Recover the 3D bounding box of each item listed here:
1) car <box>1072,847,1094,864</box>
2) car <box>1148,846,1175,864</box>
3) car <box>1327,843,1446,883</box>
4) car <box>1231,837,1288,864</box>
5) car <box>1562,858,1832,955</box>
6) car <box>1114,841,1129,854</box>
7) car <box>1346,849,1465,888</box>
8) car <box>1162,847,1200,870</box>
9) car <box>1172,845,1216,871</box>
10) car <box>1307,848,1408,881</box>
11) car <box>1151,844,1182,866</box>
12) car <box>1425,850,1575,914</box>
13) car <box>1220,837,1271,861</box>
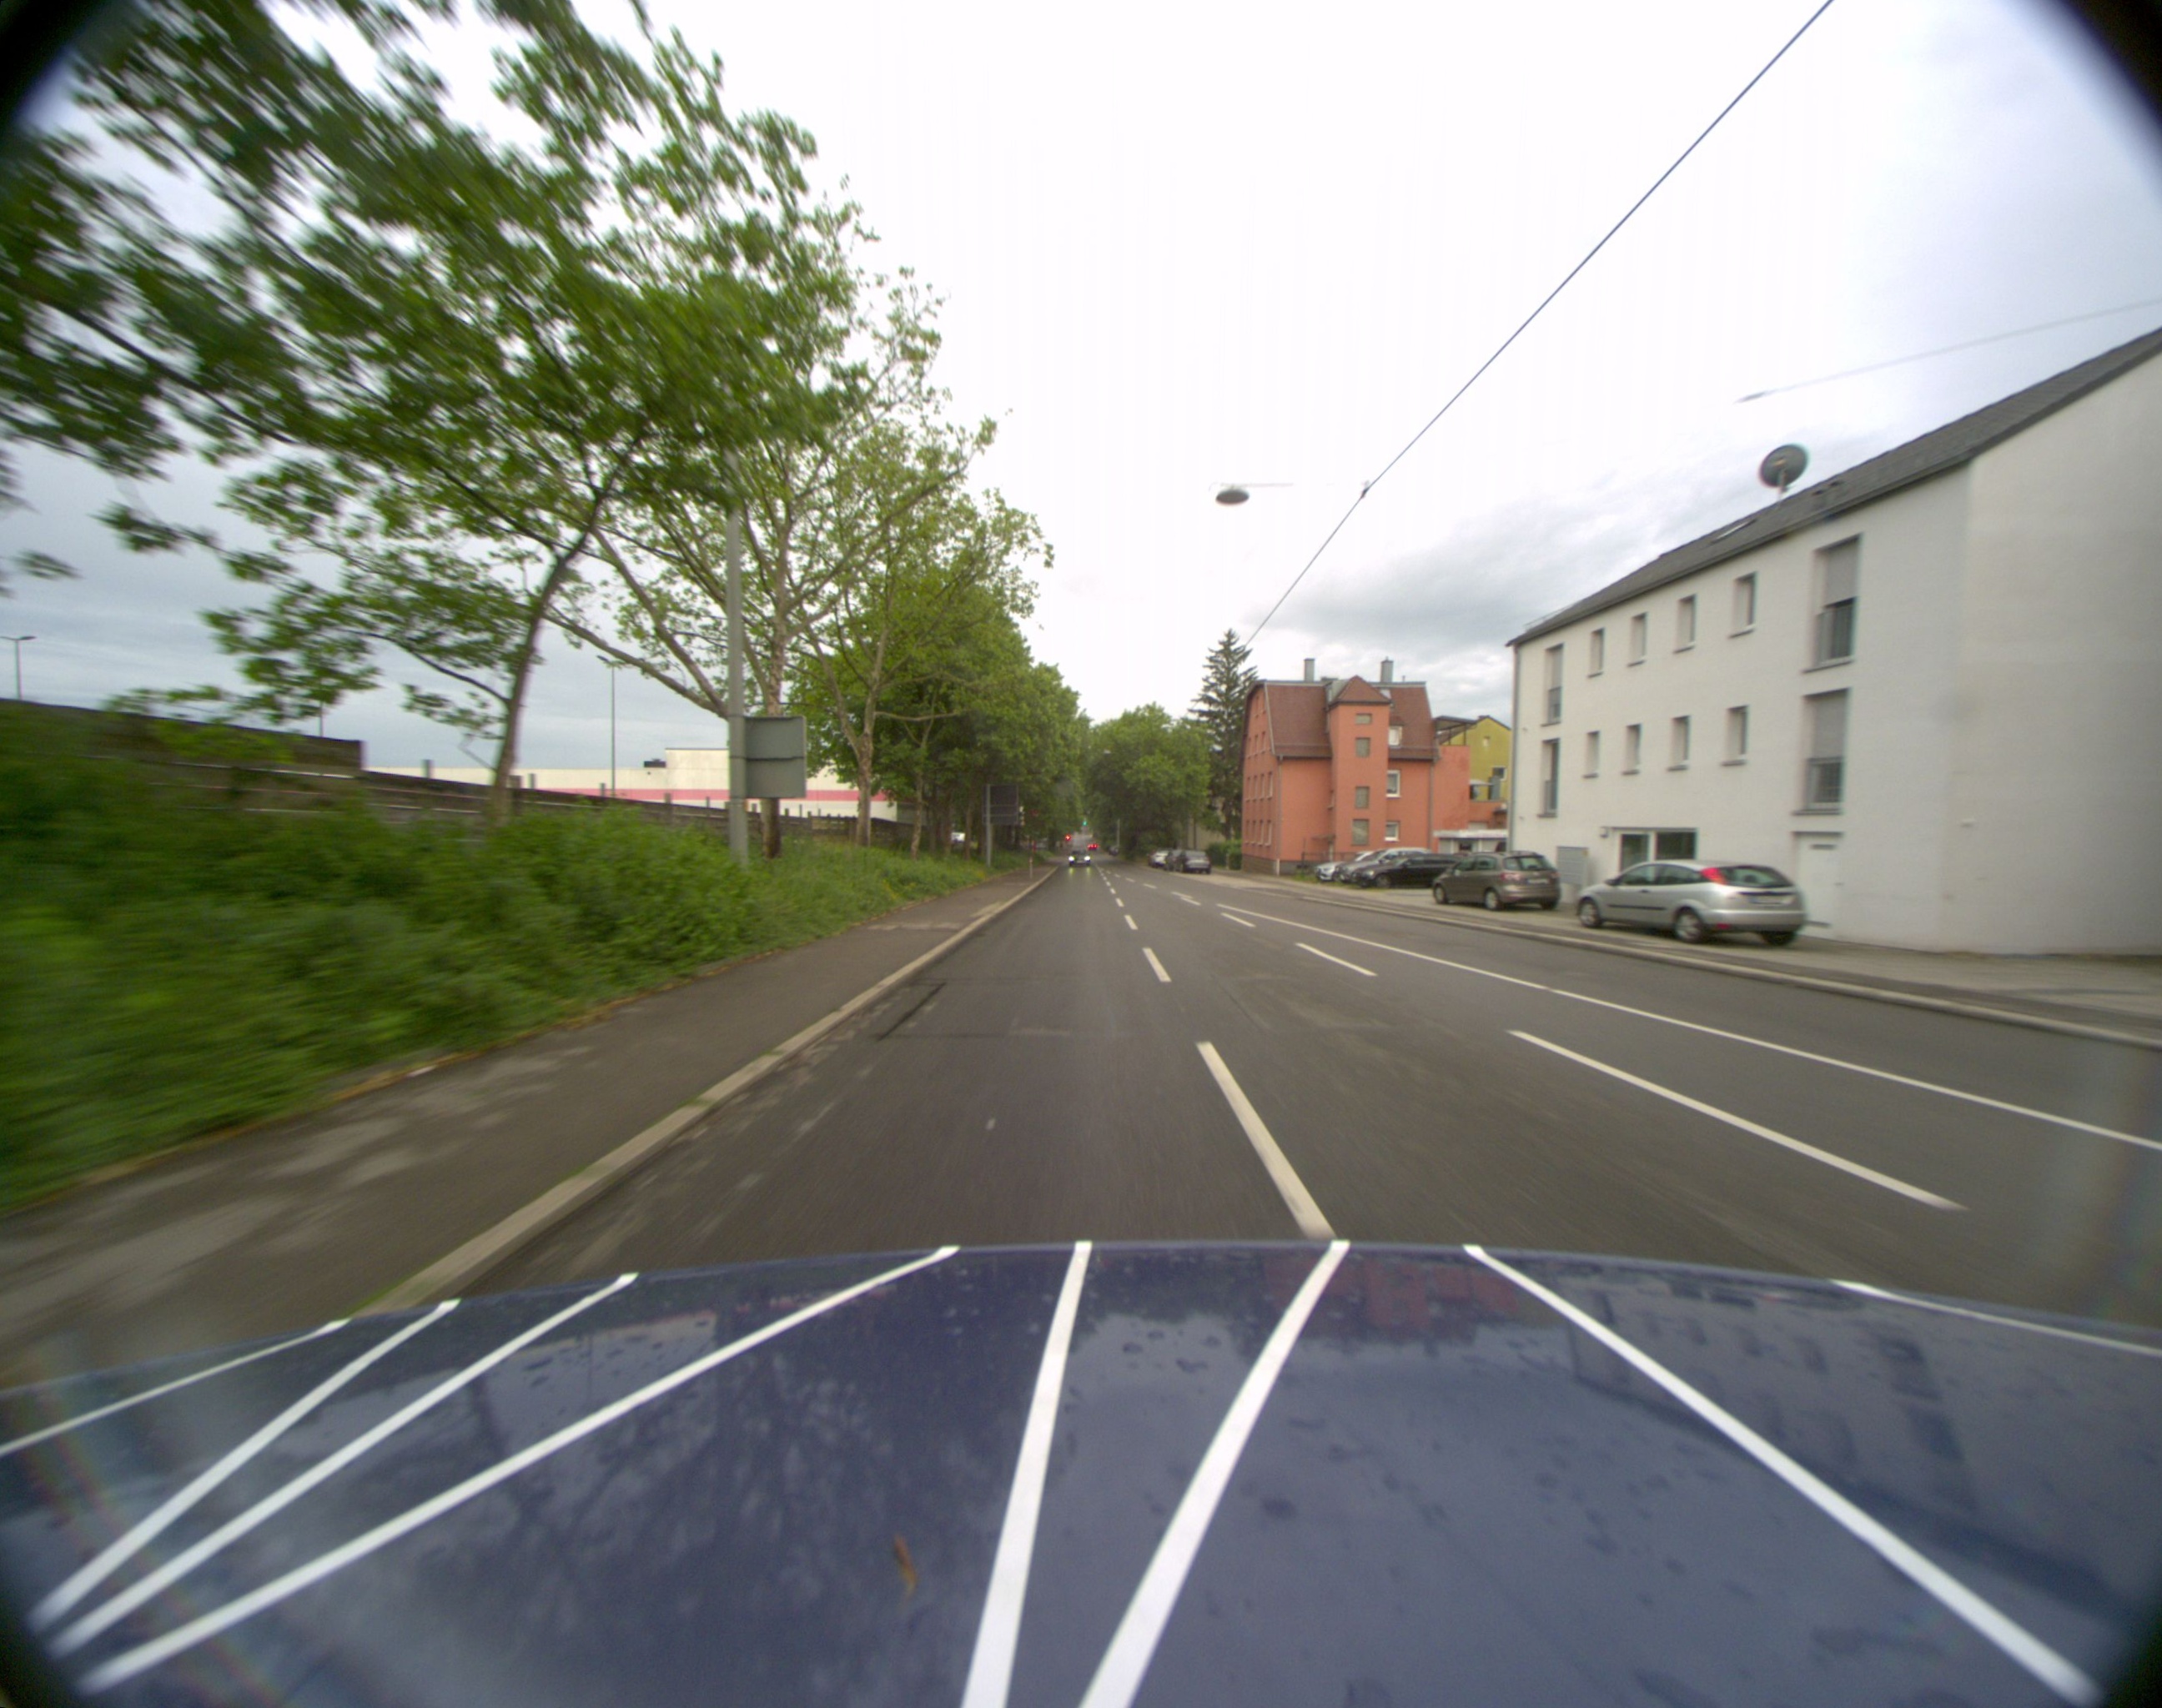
[{"bbox_3d":[0.202,0.089,66.576,1.842,1.403,3.999,0,1,0],"label":"car"},{"bbox_3d":[6.669,0.071,63.233,1.816,1.425,4.198,0,1,0],"label":"car"},{"bbox_3d":[13.743,0.380,34.389,4.542,1.599,2.153,-2,1,2],"label":"car"},{"bbox_3d":[14.004,-0.286,59.913,3.997,2.002,1.999,-1,1,-1],"label":"car"},{"bbox_3d":[11.405,0.869,14.518,1.749,1.499,4.177,0,1,0],"label":"car"},{"bbox_3d":[5.311,-0.873,99.977,1.842,1.631,4.193,0,1,0],"label":"car"},{"bbox_3d":[13.421,0.579,31.604,4.136,1.456,1.895,-1,1,2],"label":"car"},{"bbox_3d":[6.694,0.266,51.269,1.816,1.443,4.197,0,1,-2],"label":"car"},{"bbox_3d":[6.855,0.219,46.451,1.789,1.402,4.197,2,1,-3],"label":"car"},{"bbox_3d":[13.374,0.492,36.894,4.172,1.425,2.000,-2,1,2],"label":"car"},{"bbox_3d":[6.443,0.037,57.639,1.816,1.537,4.198,3,1,0],"label":"car"},{"bbox_3d":[11.628,0.695,21.442,1.750,1.543,4.081,-2,1,-4],"label":"car"},{"bbox_3d":[13.745,-0.426,63.726,3.994,2.002,2.001,-1,1,7],"label":"car"}]
